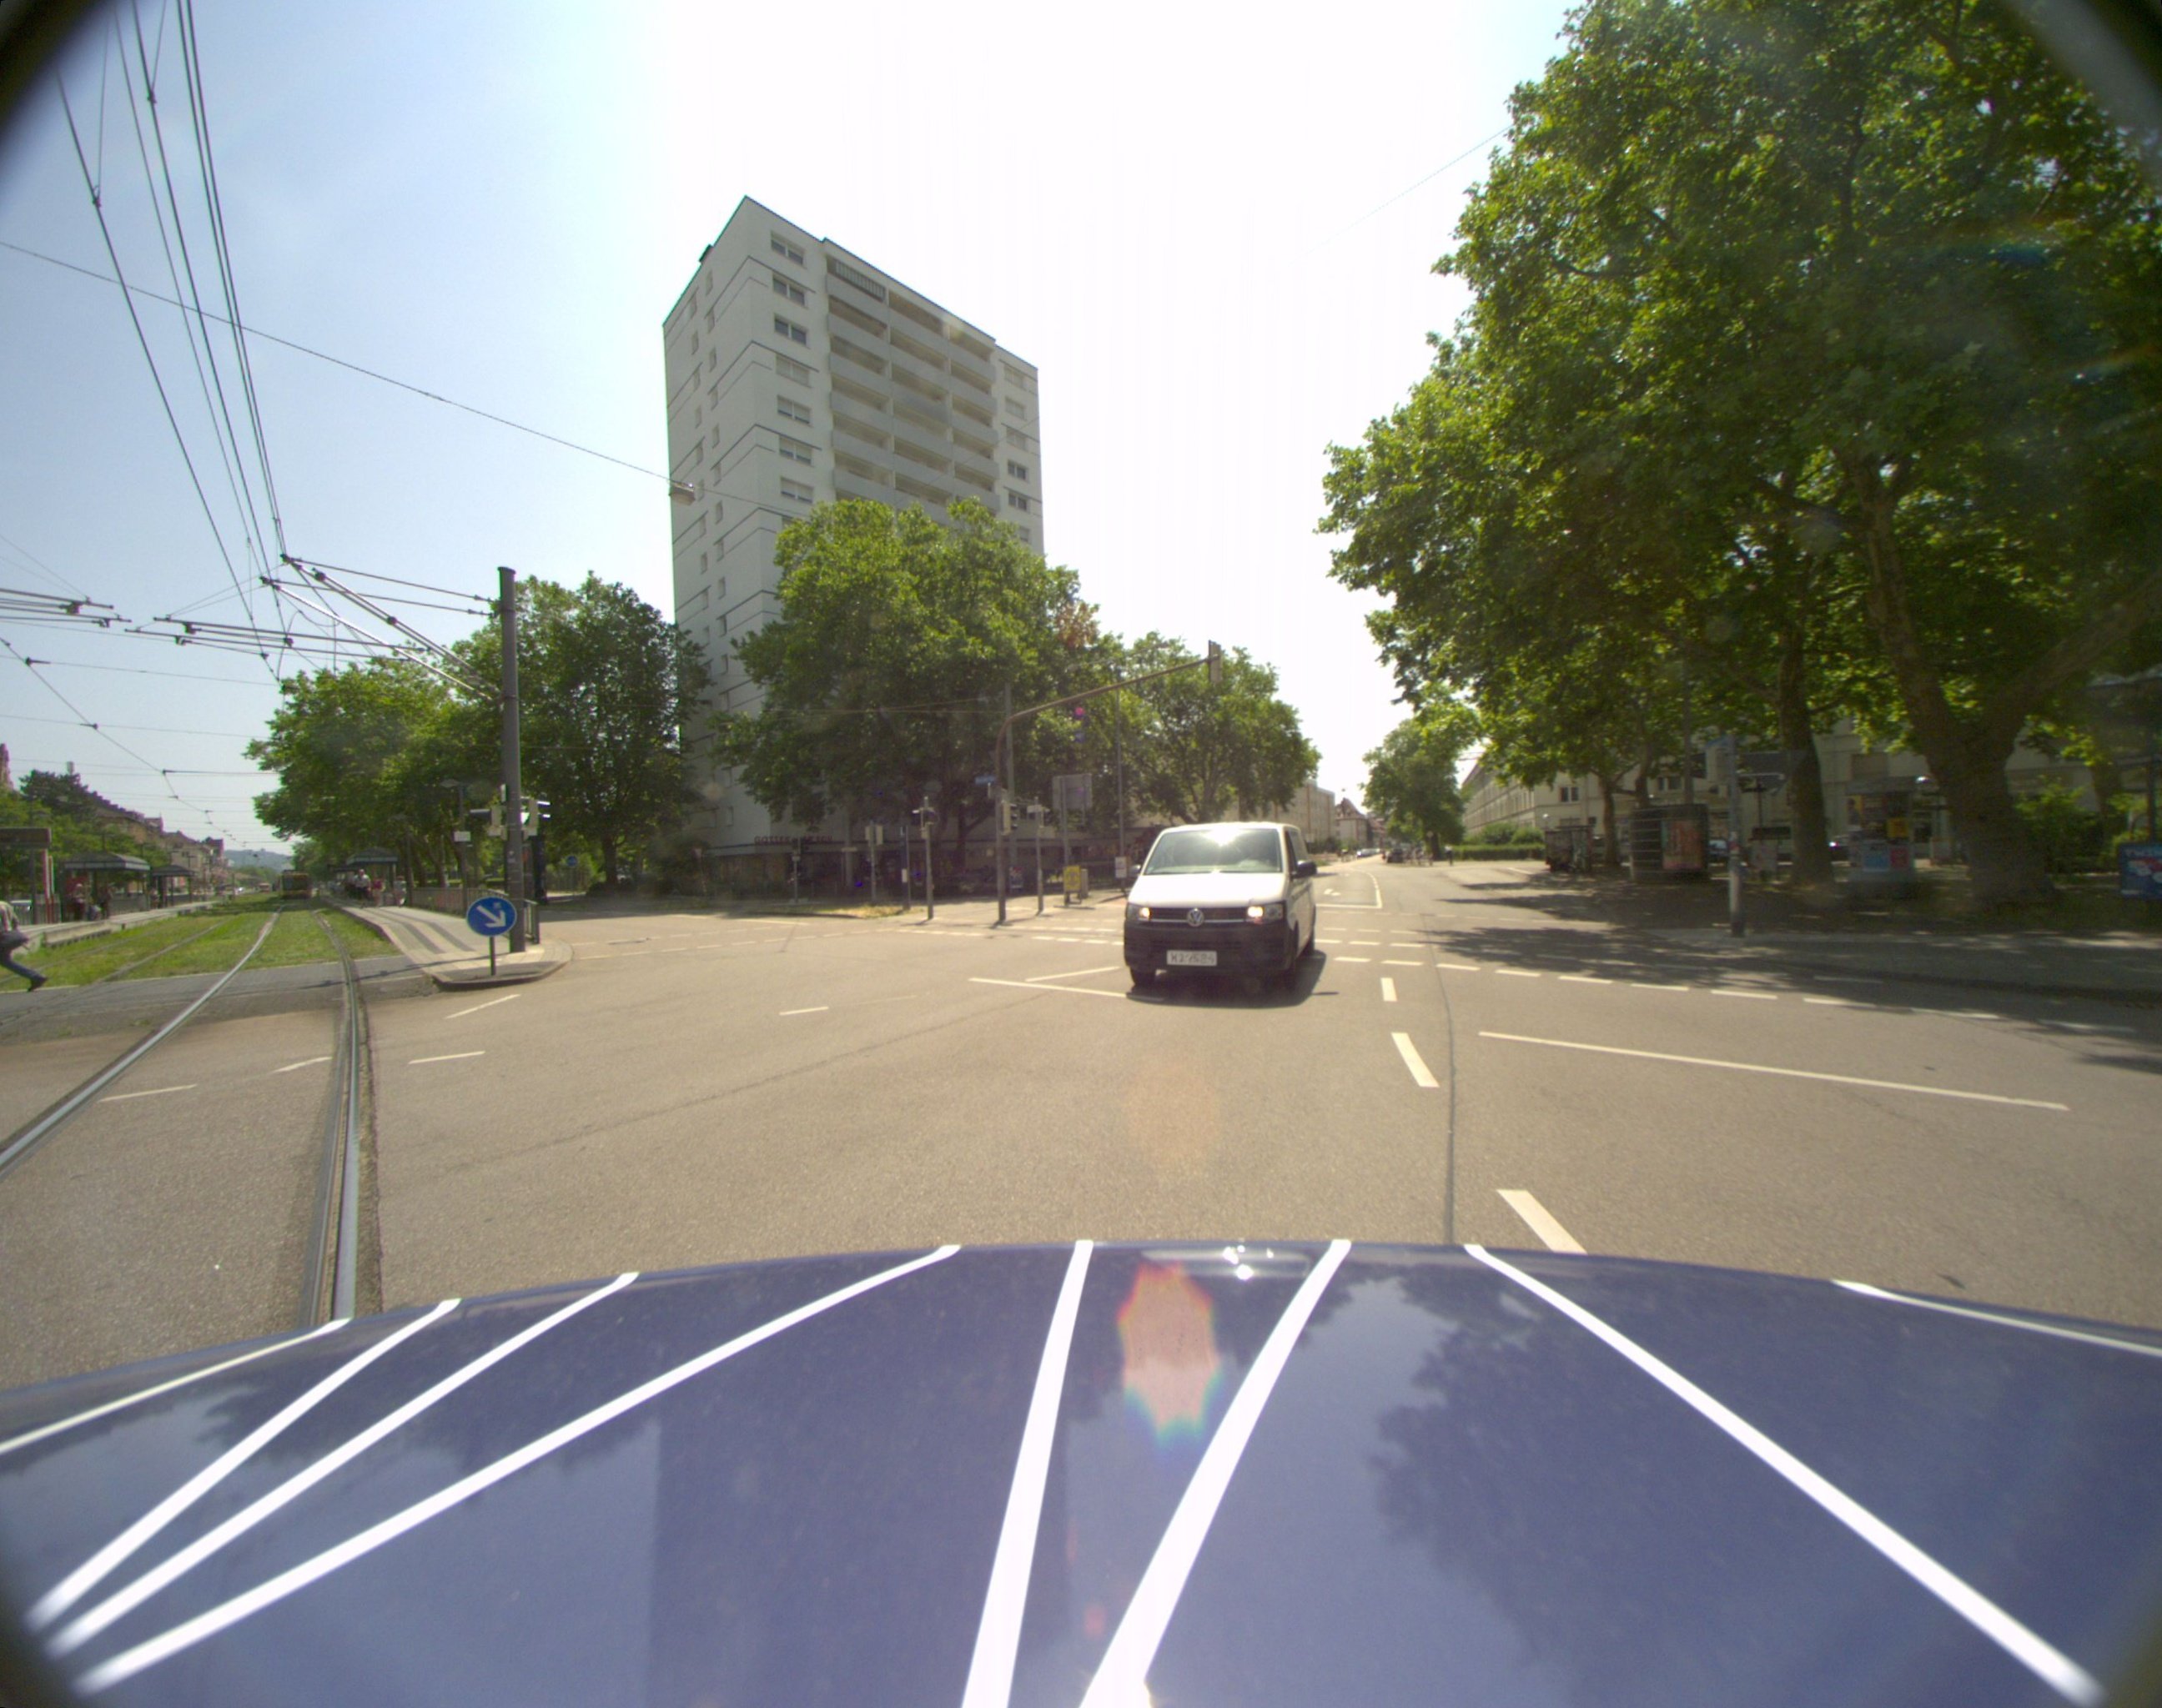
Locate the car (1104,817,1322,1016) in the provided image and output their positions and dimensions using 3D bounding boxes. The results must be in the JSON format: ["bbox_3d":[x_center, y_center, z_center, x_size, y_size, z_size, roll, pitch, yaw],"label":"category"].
[{"bbox_3d":[2.035,0.701,10.083,1.849,1.941,4.952,-2,-2,21],"label":"car"}]

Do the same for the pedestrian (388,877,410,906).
[{"bbox_3d":[-32.914,1.812,36.673,0.630,1.341,0.681,-1,2,43],"label":"pedestrian"}]

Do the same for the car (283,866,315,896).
[{"bbox_3d":[-92.610,3.189,90.085,2.280,3.319,12.001,-2,1,-44],"label":"car"}]

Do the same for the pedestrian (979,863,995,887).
[{"bbox_3d":[-5.497,1.221,44.572,0.592,1.357,0.641,-2,1,39],"label":"pedestrian"}]

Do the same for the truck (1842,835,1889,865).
[{"bbox_3d":[39.123,-0.218,37.959,1.465,1.369,2.988,-1,1,43],"label":"truck"}]

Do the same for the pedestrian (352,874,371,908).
[{"bbox_3d":[-34.674,1.782,36.623,0.678,1.597,0.555,-1,2,43],"label":"pedestrian"}]

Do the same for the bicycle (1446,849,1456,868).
[{"bbox_3d":[30.380,0.361,62.383,0.595,1.546,1.846,-2,1,29],"label":"bicycle"}]

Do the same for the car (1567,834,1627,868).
[{"bbox_3d":[31.145,-0.204,45.833,4.008,1.888,1.995,-2,0,-41],"label":"car"}]

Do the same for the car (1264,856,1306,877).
[{"bbox_3d":[15.684,0.940,58.345,1.941,1.453,4.065,-2,1,32],"label":"car"}]

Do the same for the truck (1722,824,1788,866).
[{"bbox_3d":[36.426,-0.513,41.017,4.380,2.110,1.960,-3,1,-39],"label":"truck"}]

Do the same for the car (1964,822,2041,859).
[{"bbox_3d":[42.392,-0.622,35.044,4.008,1.591,1.929,-2,0,-44],"label":"car"}]

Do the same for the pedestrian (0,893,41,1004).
[{"bbox_3d":[-17.171,1.501,12.022,0.681,1.696,0.552,-4,2,-43],"label":"pedestrian"}]

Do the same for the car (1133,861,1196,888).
[{"bbox_3d":[4.822,1.158,43.427,1.798,1.338,3.801,-2,1,38],"label":"car"}]

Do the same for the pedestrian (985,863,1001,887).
[{"bbox_3d":[-5.101,1.212,44.008,0.592,1.357,0.641,-2,1,39],"label":"pedestrian"}]

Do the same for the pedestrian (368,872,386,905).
[{"bbox_3d":[-35.385,1.730,38.199,0.513,1.571,0.548,-1,2,43],"label":"pedestrian"}]

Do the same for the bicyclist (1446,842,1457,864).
[{"bbox_3d":[30.357,-0.068,62.295,0.703,1.725,0.788,-2,1,30],"label":"bicyclist"}]

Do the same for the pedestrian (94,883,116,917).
[{"bbox_3d":[-47.883,2.253,37.286,0.552,1.597,0.551,-1,2,44],"label":"pedestrian"}]
